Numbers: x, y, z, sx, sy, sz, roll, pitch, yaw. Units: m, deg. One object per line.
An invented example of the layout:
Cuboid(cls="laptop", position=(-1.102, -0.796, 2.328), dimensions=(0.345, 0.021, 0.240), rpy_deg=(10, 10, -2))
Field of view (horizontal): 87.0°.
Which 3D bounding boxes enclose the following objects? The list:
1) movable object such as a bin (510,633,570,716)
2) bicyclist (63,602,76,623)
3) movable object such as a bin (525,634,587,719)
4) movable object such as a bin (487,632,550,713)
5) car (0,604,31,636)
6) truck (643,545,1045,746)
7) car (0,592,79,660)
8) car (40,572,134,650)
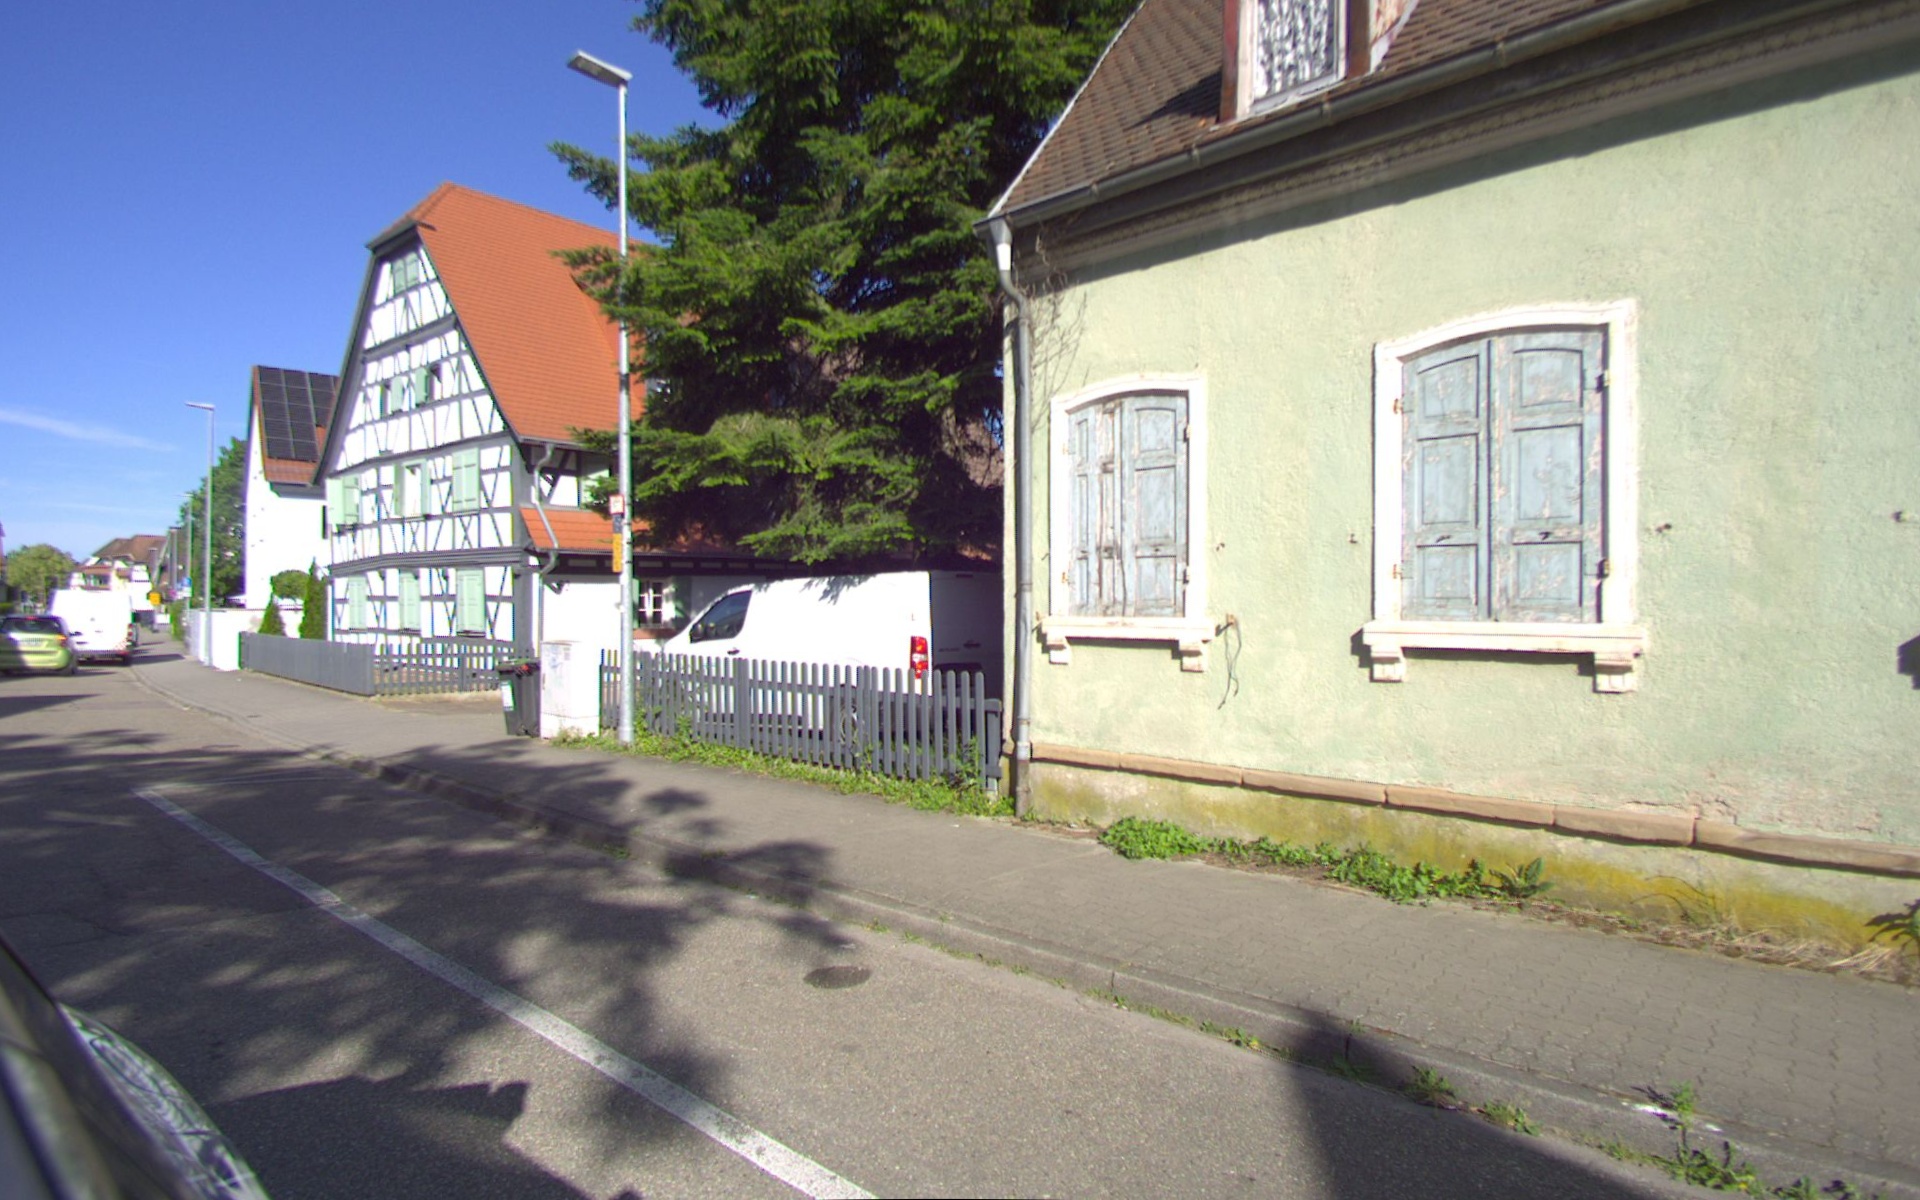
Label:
Cuboid(cls="movable object such as a bin", position=(-5.070, 0.888, 12.221), dimensions=(0.429, 0.954, 0.519), rpy_deg=(-1, -1, 35))
Cuboid(cls="bicyclist", position=(-57.313, 0.839, 65.142), dimensions=(0.574, 1.330, 0.609), rpy_deg=(3, -3, -42))
Cuboid(cls="movable object such as a bin", position=(-4.750, 0.881, 11.904), dimensions=(0.429, 0.954, 0.519), rpy_deg=(-1, -1, 35))
Cuboid(cls="movable object such as a bin", position=(-5.472, 0.887, 12.550), dimensions=(0.519, 0.954, 0.519), rpy_deg=(-1, -1, 36))
Cuboid(cls="car", position=(-46.406, 0.951, 48.874), dimensions=(1.779, 1.489, 4.354), rpy_deg=(1, -1, -36))
Cuboid(cls="truck", position=(-1.511, 0.454, 11.736), dimensions=(4.750, 1.863, 1.972), rpy_deg=(-1, -1, 42))
Cuboid(cls="car", position=(-23.806, 0.663, 25.783), dimensions=(1.865, 1.602, 4.007), rpy_deg=(2, -3, -39))
Cuboid(cls="car", position=(-27.419, 0.392, 31.914), dimensions=(2.029, 2.263, 4.867), rpy_deg=(2, -3, -40))
